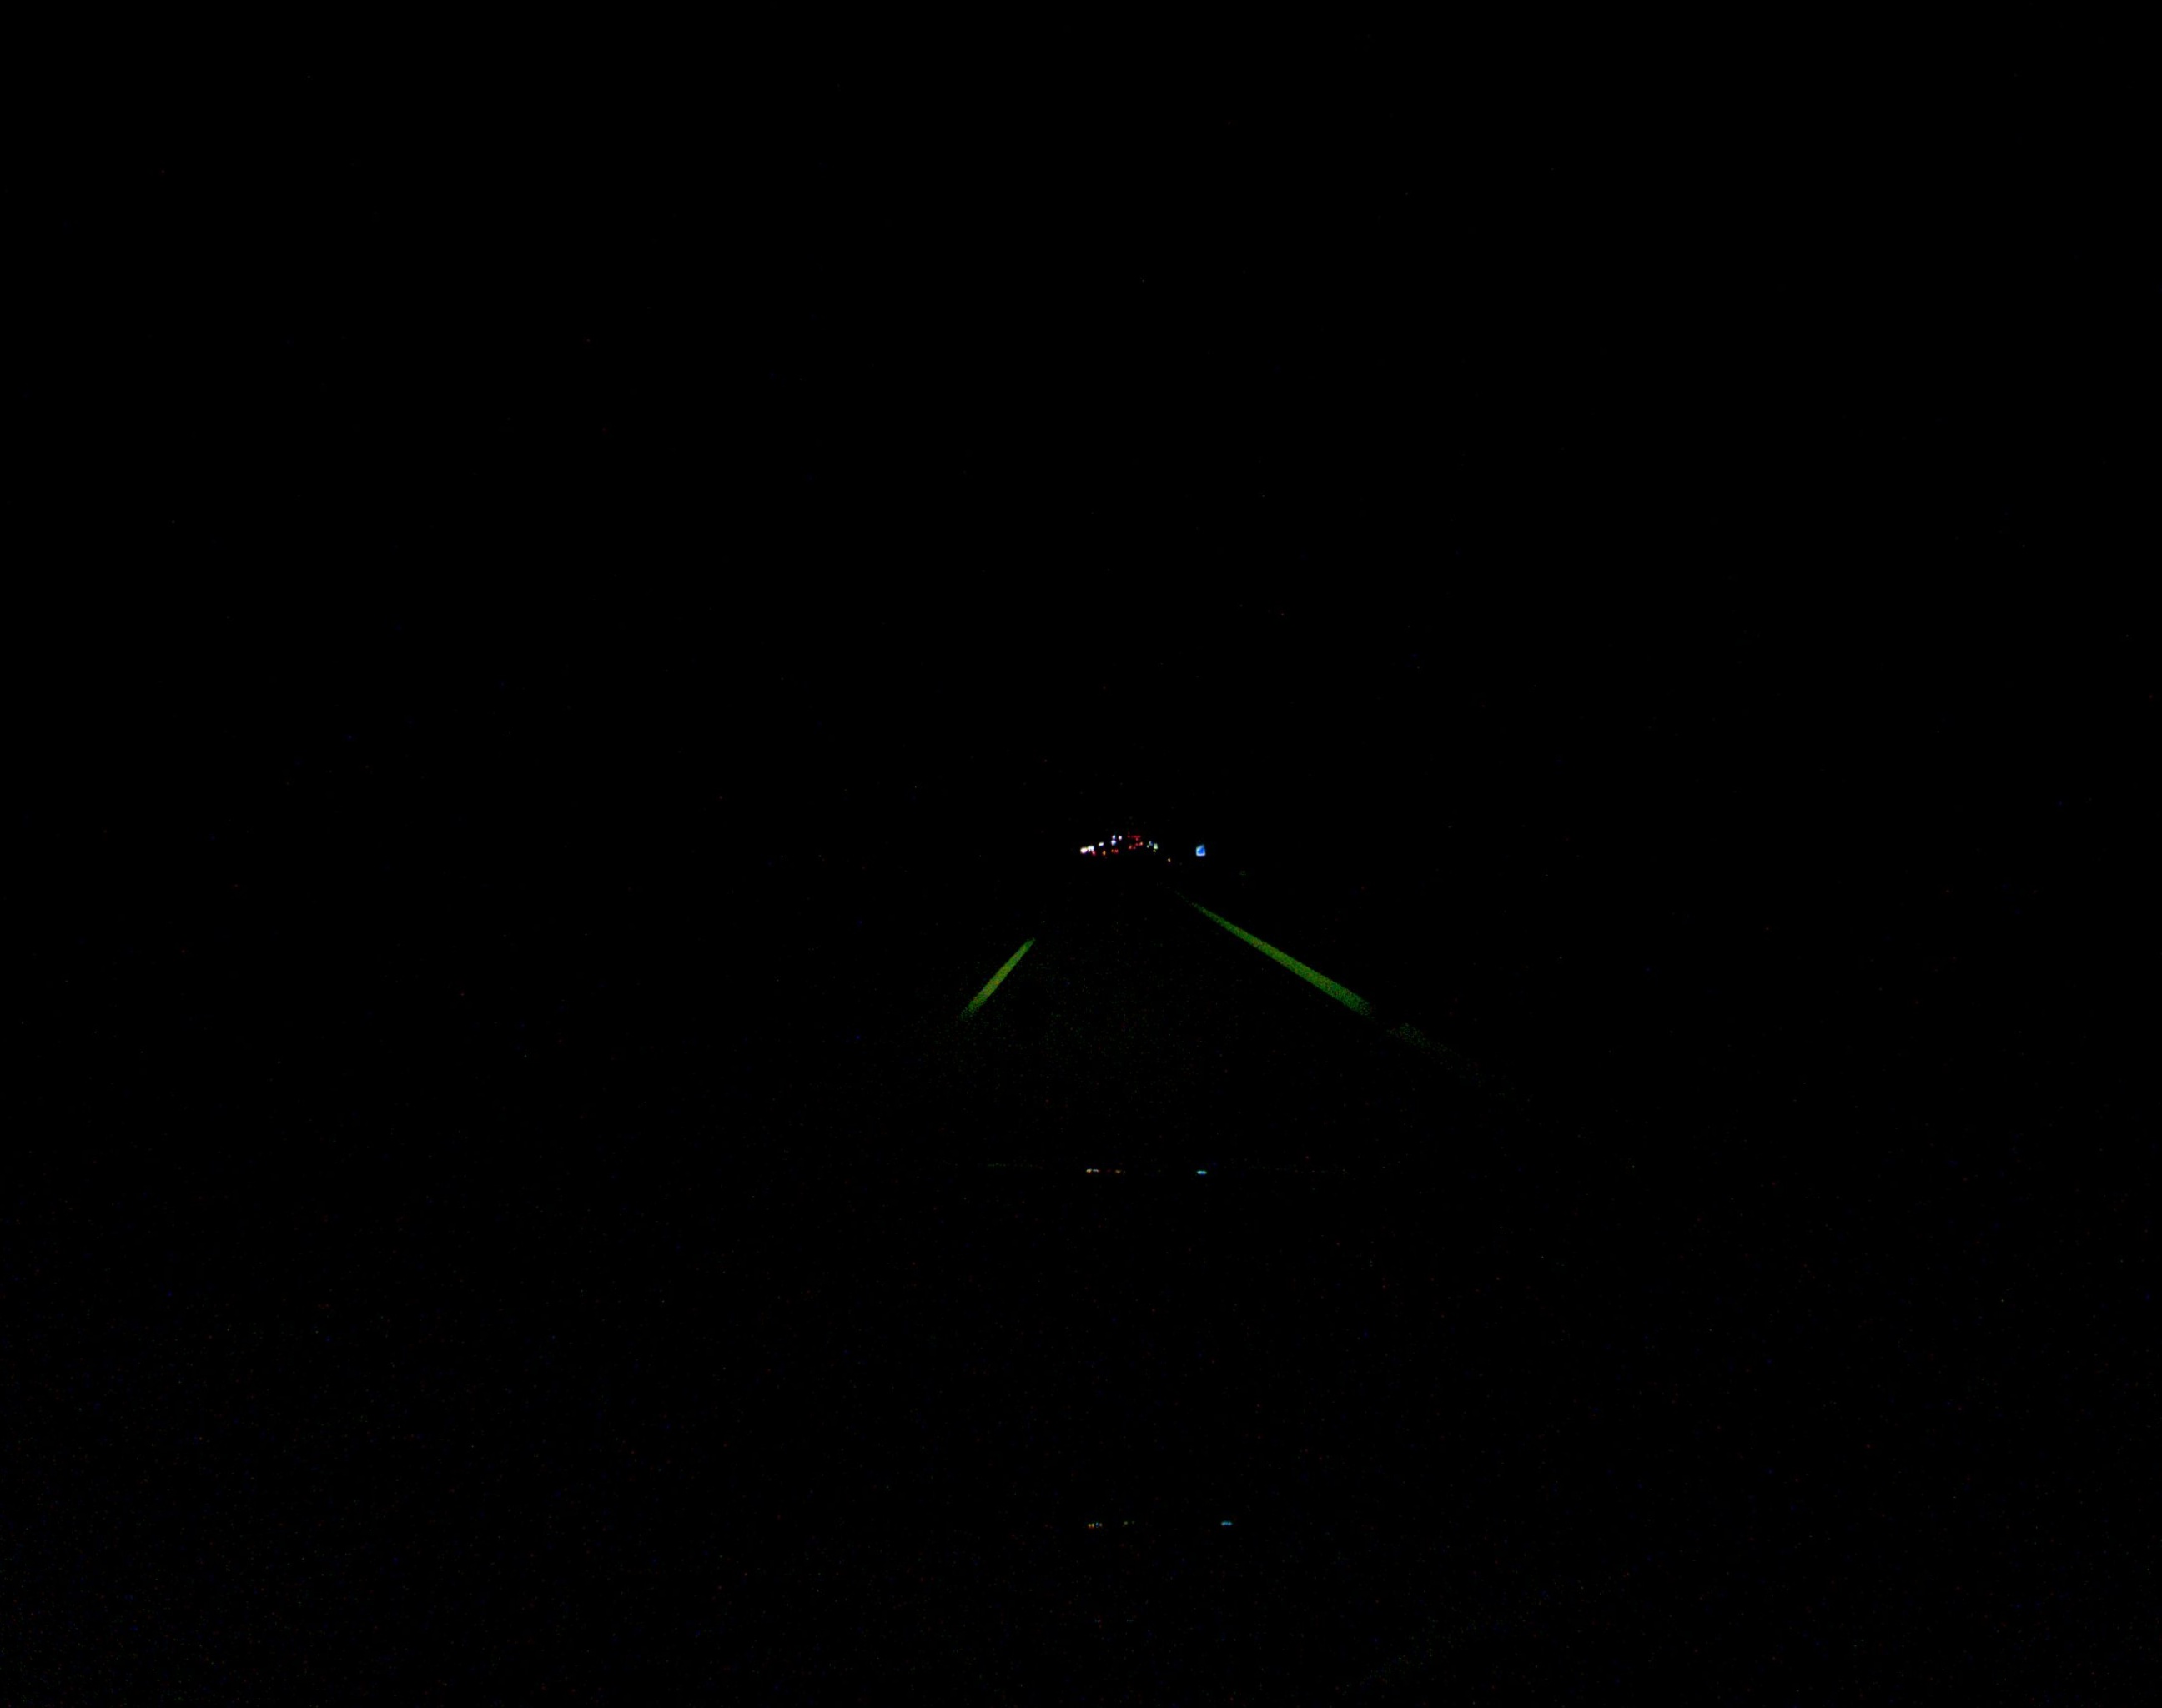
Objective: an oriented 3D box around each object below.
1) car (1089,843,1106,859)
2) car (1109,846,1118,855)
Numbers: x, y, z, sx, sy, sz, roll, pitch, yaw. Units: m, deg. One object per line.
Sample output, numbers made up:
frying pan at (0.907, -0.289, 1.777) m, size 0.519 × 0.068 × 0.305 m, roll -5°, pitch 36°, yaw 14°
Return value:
car at (2.906, -0.454, 143.105) m, size 2.776 × 2.733 × 6.301 m, roll -1°, pitch 0°, yaw 2°
car at (10.287, -1.037, 261.047) m, size 2.776 × 2.733 × 6.300 m, roll -1°, pitch 0°, yaw 1°
